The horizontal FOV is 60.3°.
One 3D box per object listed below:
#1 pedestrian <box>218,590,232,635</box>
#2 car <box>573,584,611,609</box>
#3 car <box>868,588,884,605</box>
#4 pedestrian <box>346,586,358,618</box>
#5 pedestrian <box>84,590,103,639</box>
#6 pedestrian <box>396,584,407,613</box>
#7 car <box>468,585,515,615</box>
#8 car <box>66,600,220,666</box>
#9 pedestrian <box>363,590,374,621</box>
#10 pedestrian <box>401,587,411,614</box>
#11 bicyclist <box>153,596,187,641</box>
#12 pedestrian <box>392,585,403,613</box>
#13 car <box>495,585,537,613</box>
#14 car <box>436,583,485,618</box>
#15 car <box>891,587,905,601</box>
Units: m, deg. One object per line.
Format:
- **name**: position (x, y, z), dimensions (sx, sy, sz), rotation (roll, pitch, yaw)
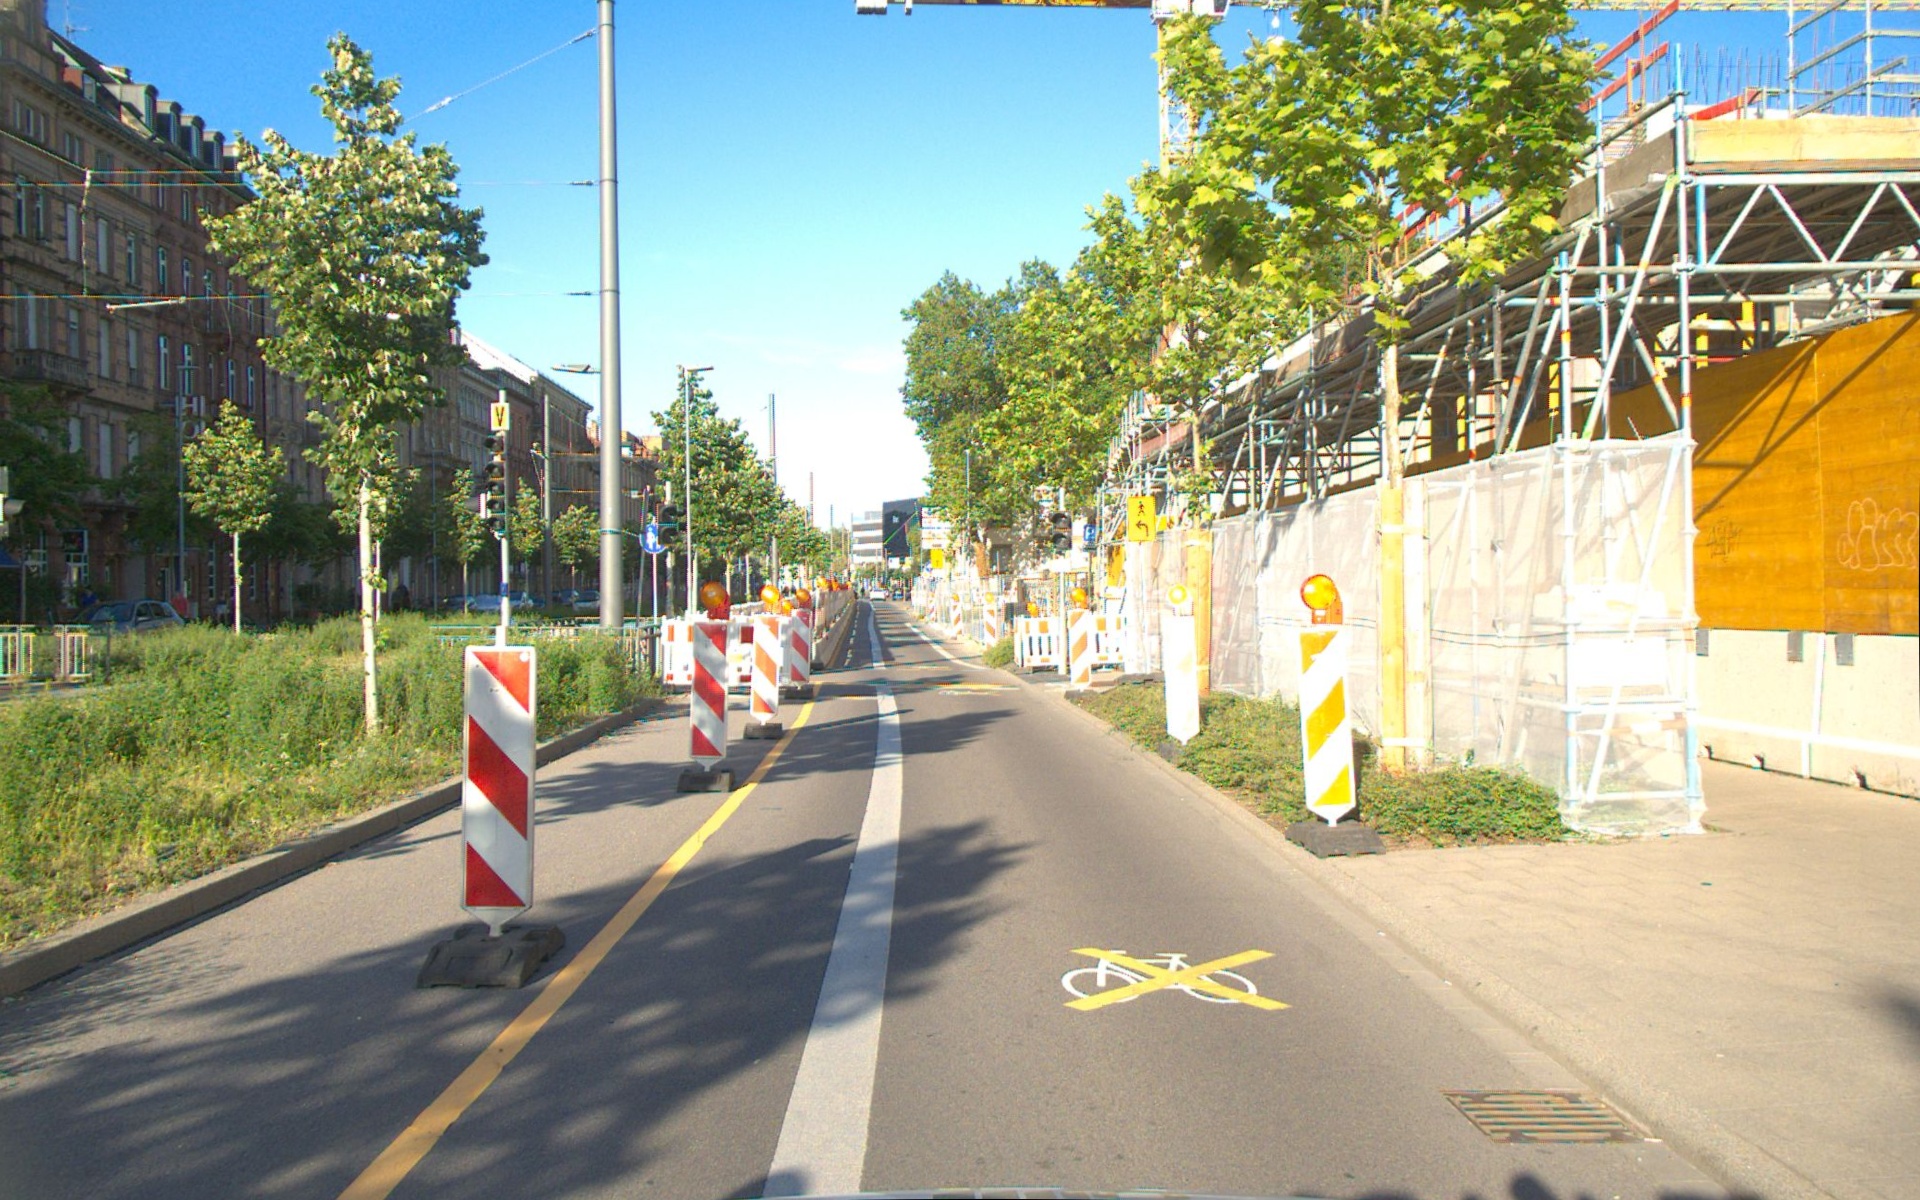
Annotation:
- **pedestrian**: position (-29.514, 0.505, 66.400), dimensions (0.359, 1.795, 0.406), rotation (1, 0, -3)
- **car**: position (-22.373, -0.217, 100.576), dimensions (1.562, 1.509, 3.622), rotation (-1, 0, -2)
- **car**: position (-9.824, -0.415, 193.734), dimensions (1.846, 1.875, 3.665), rotation (-1, 1, -3)
- **pedestrian**: position (-31.498, 0.112, 85.706), dimensions (0.425, 1.612, 0.385), rotation (1, 0, -6)
- **pedestrian**: position (-29.102, 0.480, 55.564), dimensions (0.395, 1.612, 0.425), rotation (1, 0, -3)
- **pedestrian**: position (-30.920, -0.093, 91.579), dimensions (0.397, 1.559, 0.435), rotation (1, 0, -3)
- **car**: position (-26.276, -0.039, 92.875), dimensions (1.535, 1.590, 4.712), rotation (-1, 1, -3)
- **car**: position (-19.782, 0.754, 40.237), dimensions (1.815, 1.445, 4.068), rotation (1, 0, -2)
- **pedestrian**: position (-30.661, 0.277, 85.780), dimensions (0.420, 1.612, 0.339), rotation (1, 0, -2)
- **pedestrian**: position (-32.380, 0.031, 96.620), dimensions (0.452, 1.612, 0.434), rotation (1, 0, -10)
- **bicyclist**: position (-22.616, 0.526, 47.332), dimensions (0.624, 1.261, 0.738), rotation (0, 0, -2)
- **pedestrian**: position (-31.161, -0.049, 91.609), dimensions (0.397, 1.561, 0.435), rotation (1, 0, -3)
- **car**: position (-26.679, -0.084, 99.463), dimensions (1.535, 1.590, 4.711), rotation (-1, 1, -4)
- **car**: position (-25.849, 0.003, 85.614), dimensions (1.535, 1.704, 3.806), rotation (-1, 1, -3)
- **car**: position (-8.512, -0.869, 226.343), dimensions (1.846, 1.875, 3.665), rotation (-1, 1, -3)
